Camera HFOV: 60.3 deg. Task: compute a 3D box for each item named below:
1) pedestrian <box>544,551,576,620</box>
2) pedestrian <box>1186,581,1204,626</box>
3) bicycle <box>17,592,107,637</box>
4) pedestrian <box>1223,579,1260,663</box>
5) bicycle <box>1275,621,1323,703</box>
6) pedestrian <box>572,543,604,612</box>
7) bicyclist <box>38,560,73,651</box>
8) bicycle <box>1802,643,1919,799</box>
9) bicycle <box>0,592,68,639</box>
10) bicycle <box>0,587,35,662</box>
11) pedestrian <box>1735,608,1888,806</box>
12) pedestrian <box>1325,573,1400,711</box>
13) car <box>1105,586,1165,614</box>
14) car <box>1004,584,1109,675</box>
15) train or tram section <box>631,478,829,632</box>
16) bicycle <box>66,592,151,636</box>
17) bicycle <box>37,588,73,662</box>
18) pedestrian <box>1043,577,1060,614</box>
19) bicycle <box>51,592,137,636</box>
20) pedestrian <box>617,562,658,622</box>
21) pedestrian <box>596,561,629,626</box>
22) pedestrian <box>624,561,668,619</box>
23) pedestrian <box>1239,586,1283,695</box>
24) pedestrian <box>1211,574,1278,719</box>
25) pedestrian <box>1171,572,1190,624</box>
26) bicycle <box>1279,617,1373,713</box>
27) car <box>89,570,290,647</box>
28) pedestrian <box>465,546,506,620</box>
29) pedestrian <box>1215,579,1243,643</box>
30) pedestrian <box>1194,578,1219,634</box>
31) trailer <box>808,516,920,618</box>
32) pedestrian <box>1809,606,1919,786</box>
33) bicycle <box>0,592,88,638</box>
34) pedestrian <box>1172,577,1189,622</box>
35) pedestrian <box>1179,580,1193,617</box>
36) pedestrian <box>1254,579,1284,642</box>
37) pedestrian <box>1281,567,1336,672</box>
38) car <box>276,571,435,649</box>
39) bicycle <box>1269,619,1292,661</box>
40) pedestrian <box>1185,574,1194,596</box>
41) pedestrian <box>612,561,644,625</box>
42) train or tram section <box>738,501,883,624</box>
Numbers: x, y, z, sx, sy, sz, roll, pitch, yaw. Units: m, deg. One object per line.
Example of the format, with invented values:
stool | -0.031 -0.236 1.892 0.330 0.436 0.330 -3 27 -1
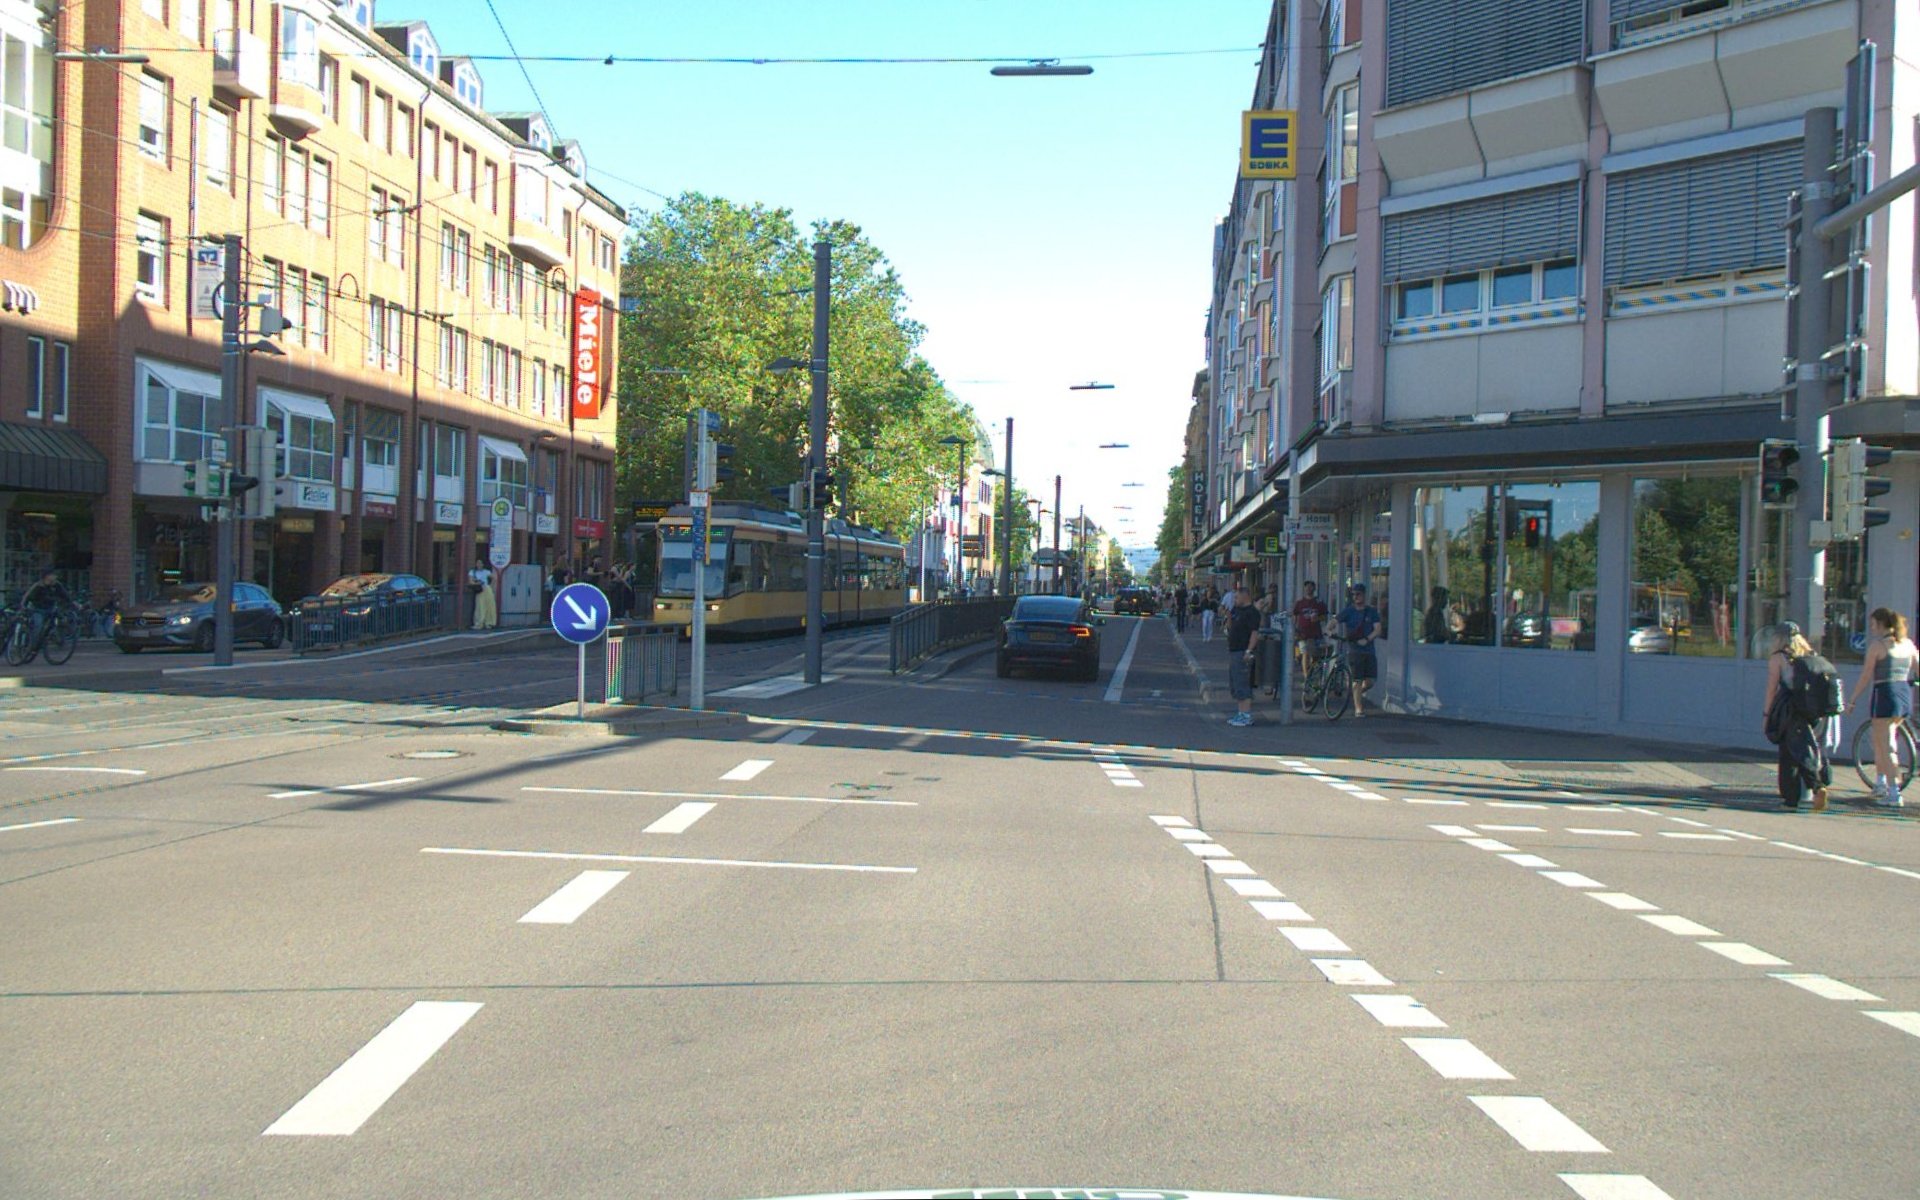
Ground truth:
pedestrian | -9.228 -0.335 38.190 0.572 1.557 0.637 2 0 -5
pedestrian | 10.086 0.148 71.012 0.682 1.929 0.750 2 0 7
bicycle | -19.520 0.305 35.960 1.674 0.916 0.521 2 0 5
pedestrian | 5.871 0.425 34.534 0.682 1.707 0.750 2 0 7
bicycle | 5.045 0.890 24.549 0.478 1.121 2.126 2 0 17
pedestrian | -9.650 -0.585 42.927 0.622 1.751 0.585 2 0 0
bicyclist | -15.203 0.093 27.798 0.477 1.496 0.712 2 0 -30
bicycle | 8.593 1.093 15.107 0.534 1.307 1.903 2 0 -10
bicycle | -19.629 0.321 34.603 1.674 0.916 0.521 2 0 5
bicycle | -15.626 0.389 27.413 0.485 1.178 1.699 2 0 -29
pedestrian | 7.348 0.906 14.311 0.764 1.604 0.867 2 2 -6
pedestrian | 5.402 0.554 22.236 0.895 1.785 0.840 2 0 12
car | 11.214 0.012 105.906 3.674 1.693 1.718 2 0 -40
car | 1.735 0.486 30.584 1.753 1.476 3.941 3 1 2
train or tram section | -5.894 -1.101 44.486 2.671 3.604 10.094 2 0 7
bicycle | -19.417 0.313 37.725 1.674 0.916 0.521 2 0 5
bicycle | -15.169 0.404 27.711 0.485 1.178 1.666 2 0 -29
pedestrian | 4.435 -0.216 80.206 0.741 1.800 0.699 2 0 5
bicycle | -19.454 0.305 37.156 1.674 0.916 0.521 2 0 5
pedestrian | -9.272 -0.230 47.550 0.979 1.653 0.848 2 0 -2
pedestrian | -9.495 -0.181 45.195 0.622 1.751 0.586 2 0 15
pedestrian | -9.222 -0.284 48.560 1.083 1.653 0.848 2 0 -2
pedestrian | 4.480 0.598 24.657 0.462 1.590 0.544 2 0 -7
pedestrian | 3.681 0.586 21.462 0.614 1.813 0.917 2 0 -3
pedestrian | 8.398 -0.082 63.004 0.682 1.929 0.750 2 0 7
bicycle | 4.930 0.857 22.399 0.479 1.181 1.968 2 0 -10
car | -15.783 0.154 34.100 1.778 1.479 3.981 0 0 10
pedestrian | -10.444 -0.366 36.404 0.622 1.591 0.586 2 0 11
pedestrian | 7.367 0.295 45.379 0.682 1.707 0.750 2 0 7
pedestrian | 7.688 0.179 51.585 0.682 1.707 0.750 2 0 7
trailer | -3.584 -1.215 64.257 2.656 3.608 9.365 2 0 6
pedestrian | 8.345 0.858 15.195 0.516 1.582 0.866 2 0 -8
bicycle | -19.580 0.311 35.298 1.674 0.916 0.521 2 0 5
pedestrian | 9.630 -0.030 72.214 0.682 1.929 0.750 2 0 7
pedestrian | 12.113 -0.075 88.806 0.682 1.929 0.750 2 0 7
pedestrian | 8.527 0.278 45.691 0.731 1.707 0.699 2 0 7
pedestrian | 5.829 0.326 27.672 0.673 1.718 0.670 2 0 -8
car | -12.793 0.185 35.249 1.779 1.571 3.794 0 0 4
bicycle | 7.146 0.883 36.911 0.406 0.871 1.238 2 0 8
pedestrian | 19.714 -1.277 141.840 0.682 1.911 0.750 2 0 8
pedestrian | -9.235 -0.192 45.999 0.622 1.751 0.609 2 0 15
train or tram section | -4.709 -1.146 54.551 2.656 3.608 10.176 2 0 6
